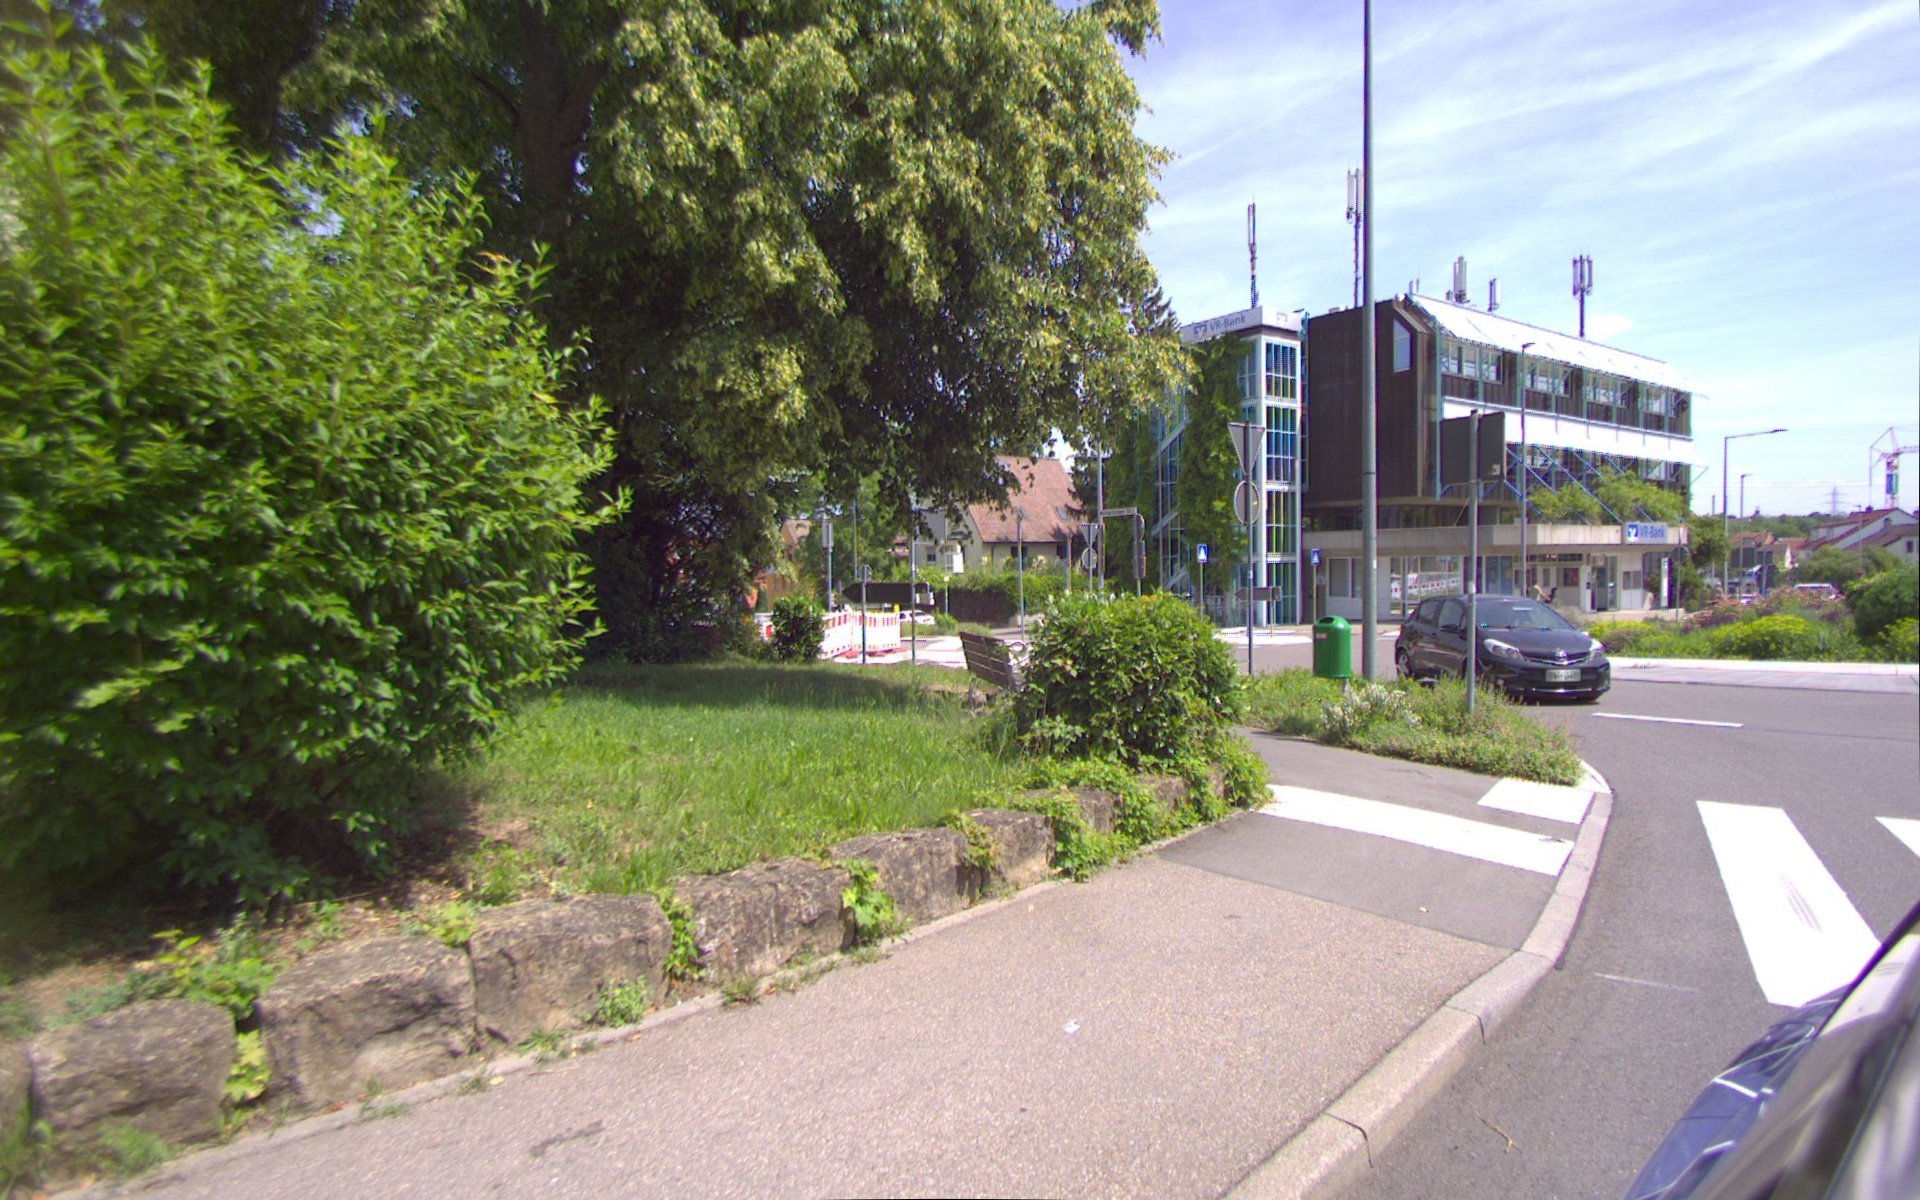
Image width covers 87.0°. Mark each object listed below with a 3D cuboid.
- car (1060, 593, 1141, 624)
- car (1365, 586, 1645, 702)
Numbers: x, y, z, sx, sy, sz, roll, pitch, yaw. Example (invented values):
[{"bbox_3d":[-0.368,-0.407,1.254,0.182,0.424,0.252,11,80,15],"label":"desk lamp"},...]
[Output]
[{"bbox_3d":[7.708,0.457,55.460,4.146,1.455,1.864,-4,1,-33],"label":"car"},{"bbox_3d":[7.931,0.537,15.303,1.693,1.475,4.432,-1,1,-2],"label":"car"}]
